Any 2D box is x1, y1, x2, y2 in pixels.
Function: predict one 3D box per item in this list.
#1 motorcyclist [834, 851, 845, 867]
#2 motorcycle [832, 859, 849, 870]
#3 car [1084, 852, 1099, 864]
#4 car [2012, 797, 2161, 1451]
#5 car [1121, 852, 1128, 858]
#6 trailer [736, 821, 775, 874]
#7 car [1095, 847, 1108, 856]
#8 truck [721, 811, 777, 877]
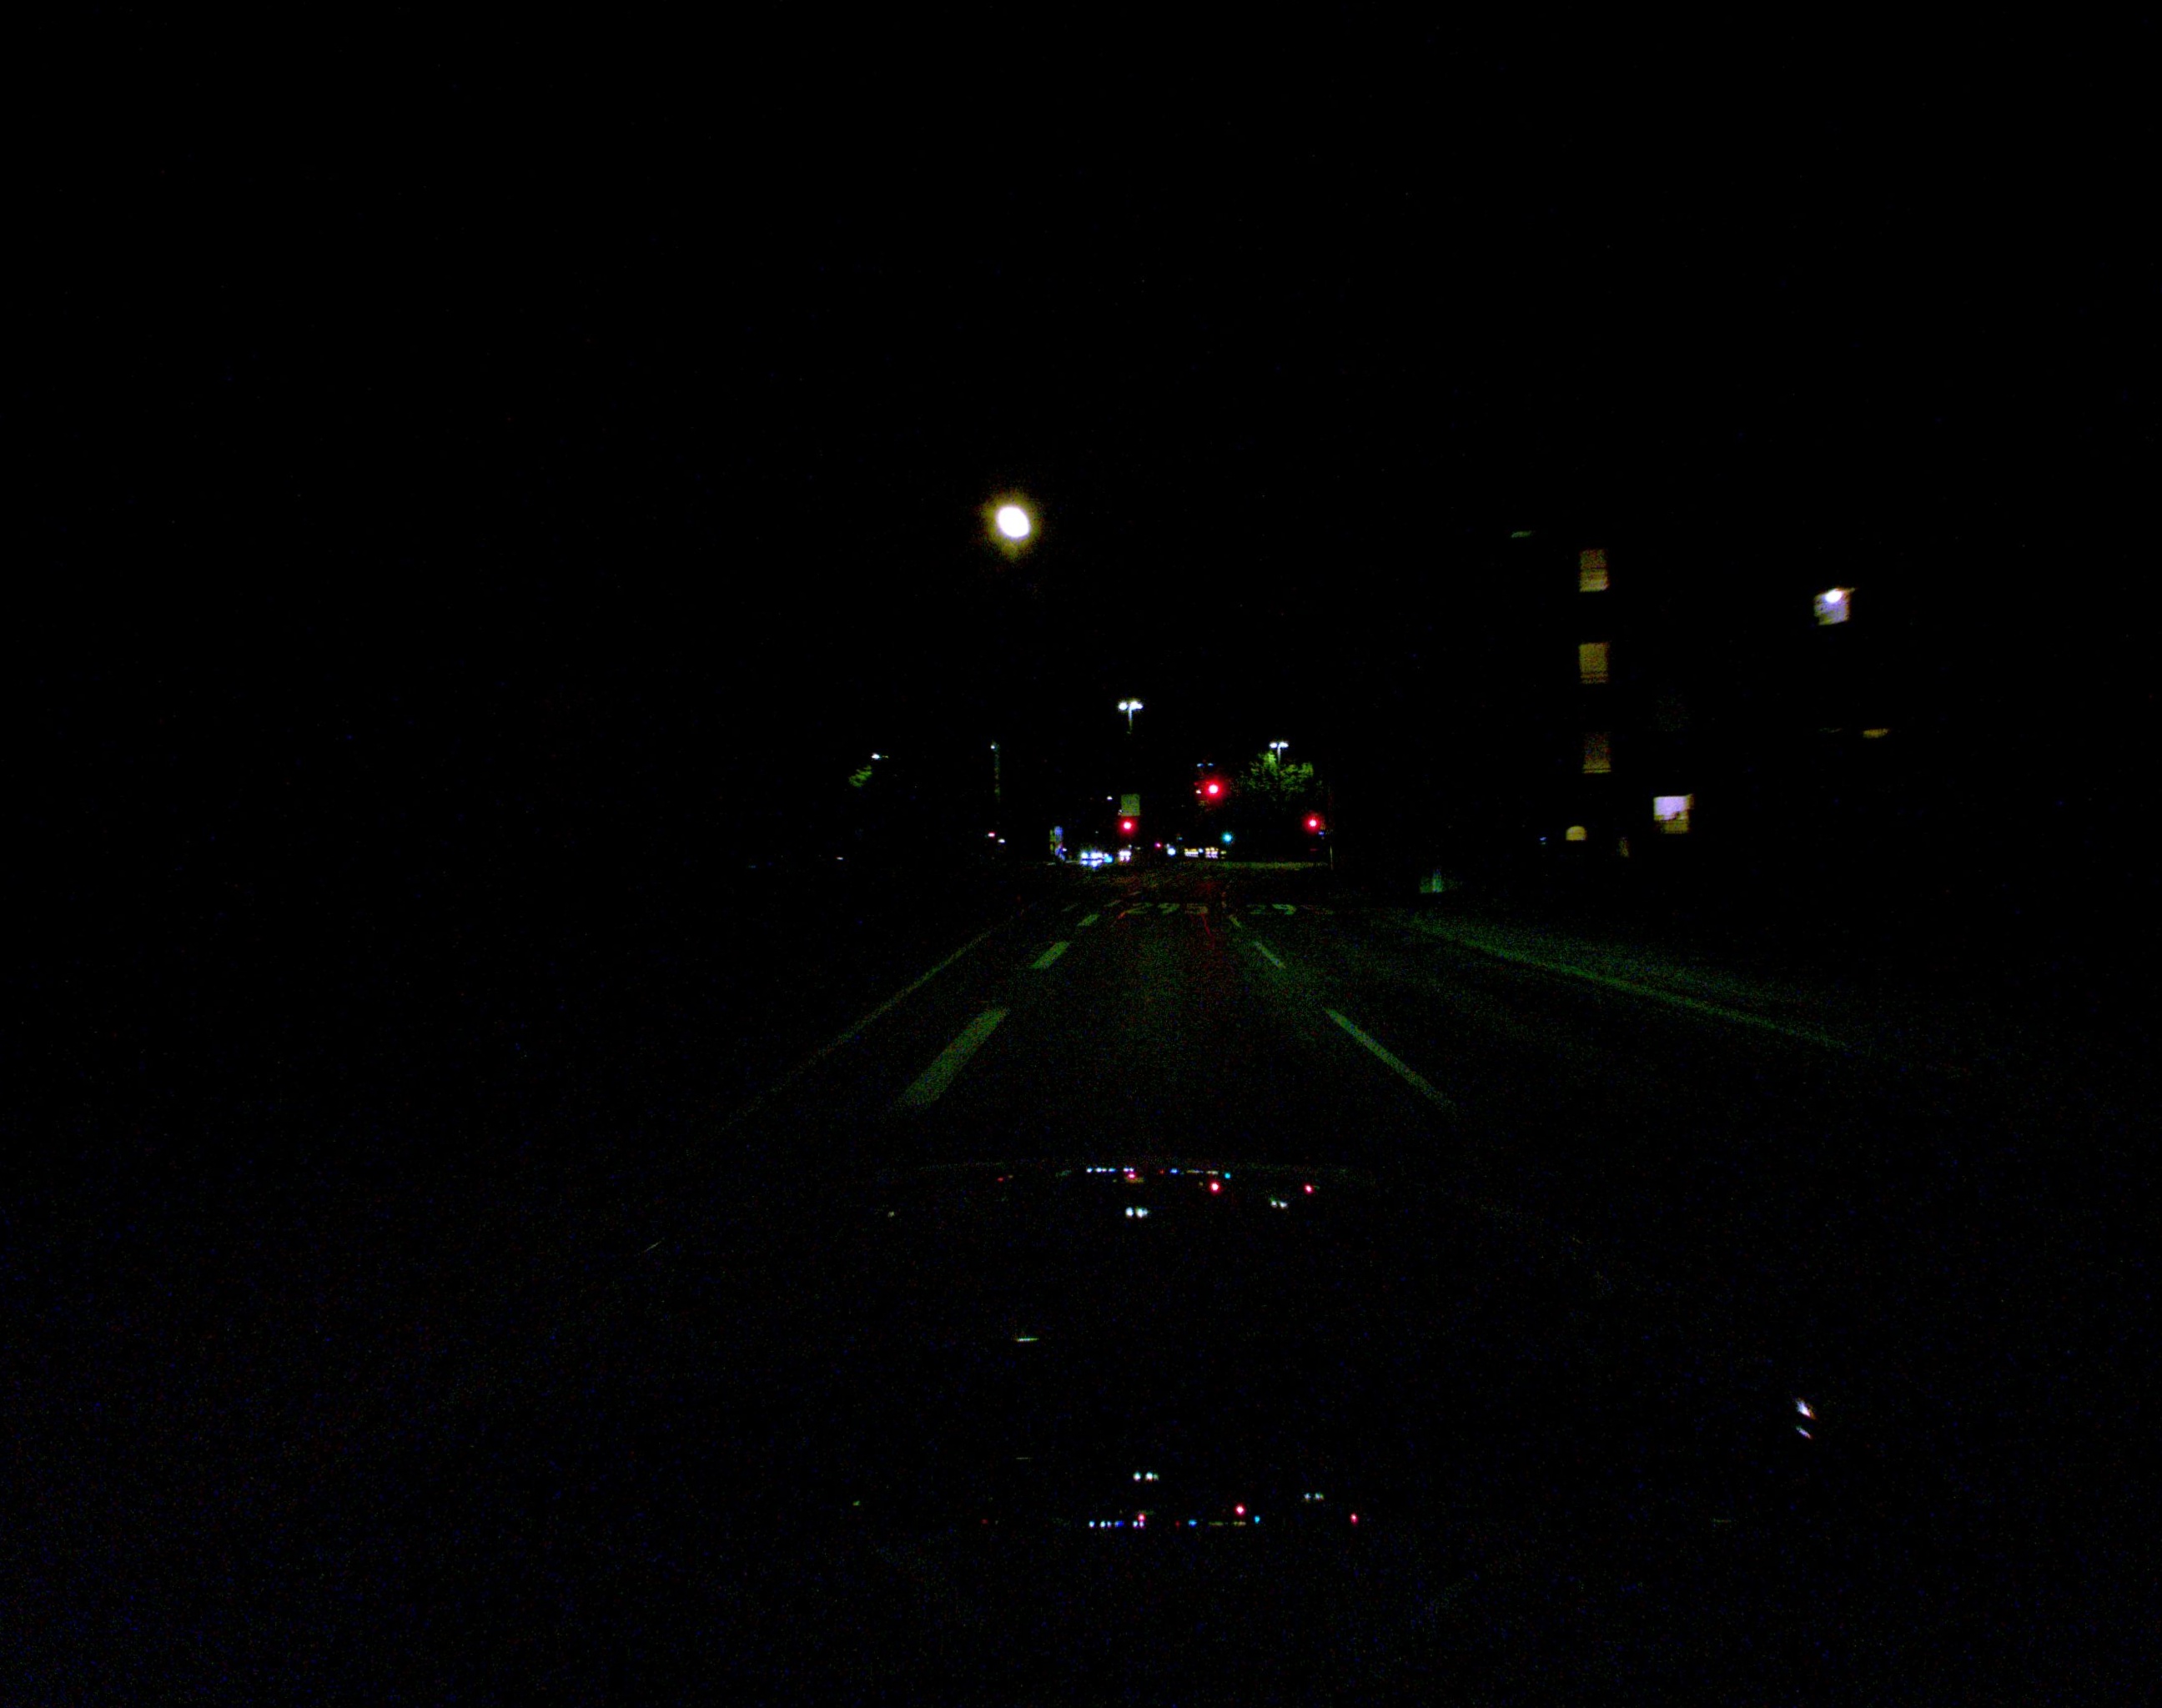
[{"bbox_3d":[-19.353,0.393,65.261,0.651,1.261,0.573,0,-1,-37],"label":"motorcyclist"},{"bbox_3d":[-19.352,0.846,65.527,0.582,0.896,2.131,-3,1,-36],"label":"motorcycle"},{"bbox_3d":[1.417,0.499,109.379,1.607,1.515,4.007,0,0,6],"label":"car"},{"bbox_3d":[3.454,0.656,0.210,1.664,1.610,4.230,0,0,1],"label":"car"},{"bbox_3d":[11.367,0.251,211.634,1.749,1.728,3.553,0,0,6],"label":"car"},{"bbox_3d":[-24.663,-0.470,61.683,2.624,3.791,6.465,0,0,-22],"label":"trailer"},{"bbox_3d":[3.227,-0.435,126.382,1.749,1.322,3.553,0,0,6],"label":"car"},{"bbox_3d":[-20.989,-0.554,51.954,2.948,3.796,9.492,0,0,-20],"label":"truck"}]
